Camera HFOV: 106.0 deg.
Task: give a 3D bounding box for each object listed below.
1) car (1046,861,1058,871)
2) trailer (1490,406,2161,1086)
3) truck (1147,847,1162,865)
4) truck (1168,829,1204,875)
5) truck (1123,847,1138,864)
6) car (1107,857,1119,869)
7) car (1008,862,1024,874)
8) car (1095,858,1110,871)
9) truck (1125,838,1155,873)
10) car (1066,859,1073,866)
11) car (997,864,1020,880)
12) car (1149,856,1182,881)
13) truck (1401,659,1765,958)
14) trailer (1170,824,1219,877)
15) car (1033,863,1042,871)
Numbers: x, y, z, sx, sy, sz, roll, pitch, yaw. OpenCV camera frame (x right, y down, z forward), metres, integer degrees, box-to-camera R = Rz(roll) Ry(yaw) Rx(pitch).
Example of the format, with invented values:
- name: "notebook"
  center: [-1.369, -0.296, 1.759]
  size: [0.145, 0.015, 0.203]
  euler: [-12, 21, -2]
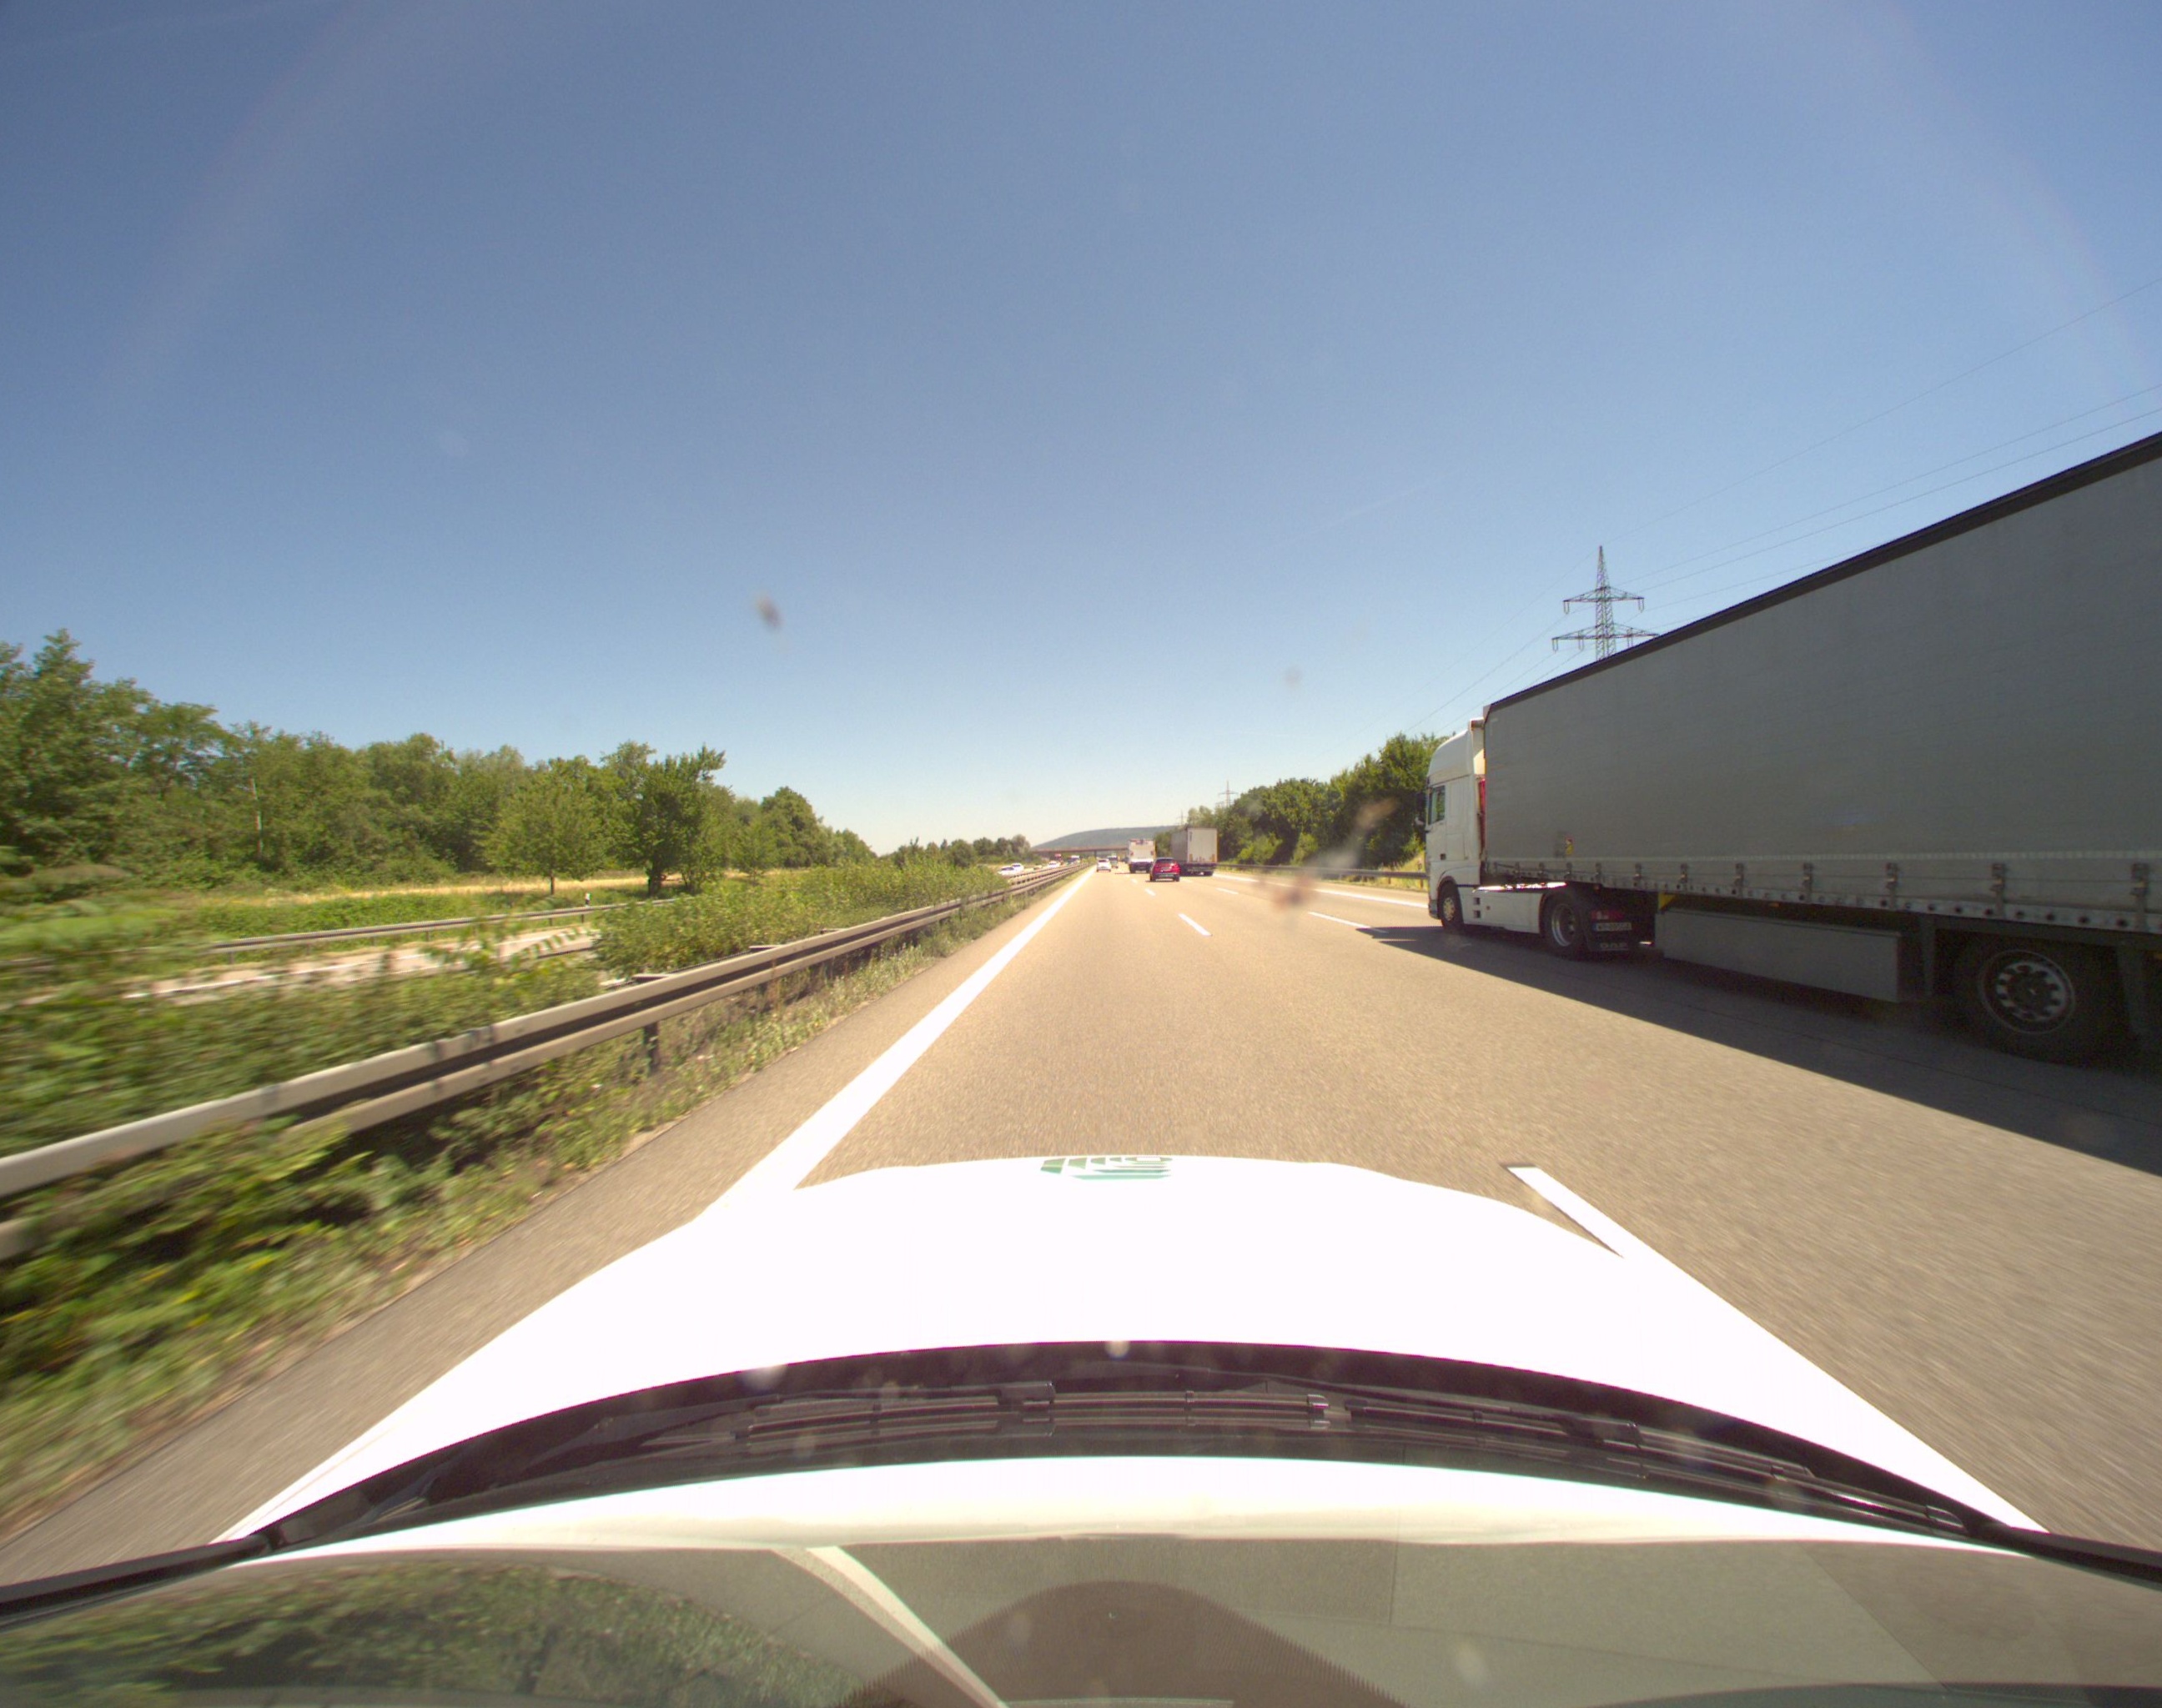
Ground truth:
- name: "car"
  center: [-4.902, 2.013, 138.446]
  size: [1.788, 1.492, 4.239]
  euler: [-4, 0, 2]
- name: "trailer"
  center: [7.959, -0.654, 6.867]
  size: [2.726, 4.106, 13.126]
  euler: [-1, 0, 2]
- name: "truck"
  center: [14.134, 0.380, 157.188]
  size: [2.213, 3.209, 10.388]
  euler: [-2, 0, 2]
- name: "truck"
  center: [10.130, -0.183, 79.079]
  size: [2.784, 4.164, 5.725]
  euler: [-2, -1, 2]
- name: "truck"
  center: [14.336, 0.502, 236.311]
  size: [3.507, 4.416, 14.596]
  euler: [-3, -1, 2]
- name: "car"
  center: [5.043, 1.373, 127.005]
  size: [1.754, 1.850, 4.002]
  euler: [-2, 0, 2]
- name: "car"
  center: [-9.269, 2.004, 115.981]
  size: [1.829, 1.585, 3.890]
  euler: [-4, 0, 2]
- name: "car"
  center: [2.557, 1.206, 95.567]
  size: [1.601, 1.468, 4.002]
  euler: [-2, 0, 2]
- name: "truck"
  center: [6.050, 0.165, 84.503]
  size: [2.772, 3.373, 8.130]
  euler: [-1, -1, 1]
- name: "car"
  center: [-3.024, 2.338, 214.165]
  size: [1.761, 1.750, 3.987]
  euler: [-3, 0, 2]
- name: "car"
  center: [-7.012, 1.741, 79.217]
  size: [1.682, 1.314, 4.086]
  euler: [-4, 0, 2]
- name: "car"
  center: [5.473, 0.922, 53.186]
  size: [1.796, 1.545, 4.001]
  euler: [-1, 0, 2]
- name: "truck"
  center: [8.191, -0.621, 14.405]
  size: [2.726, 4.120, 6.126]
  euler: [-1, 0, 1]
- name: "trailer"
  center: [9.894, -0.220, 72.441]
  size: [2.778, 4.164, 13.580]
  euler: [-2, 0, 2]
- name: "car"
  center: [-8.688, 2.564, 163.079]
  size: [1.576, 1.428, 3.478]
  euler: [-3, 0, 2]
